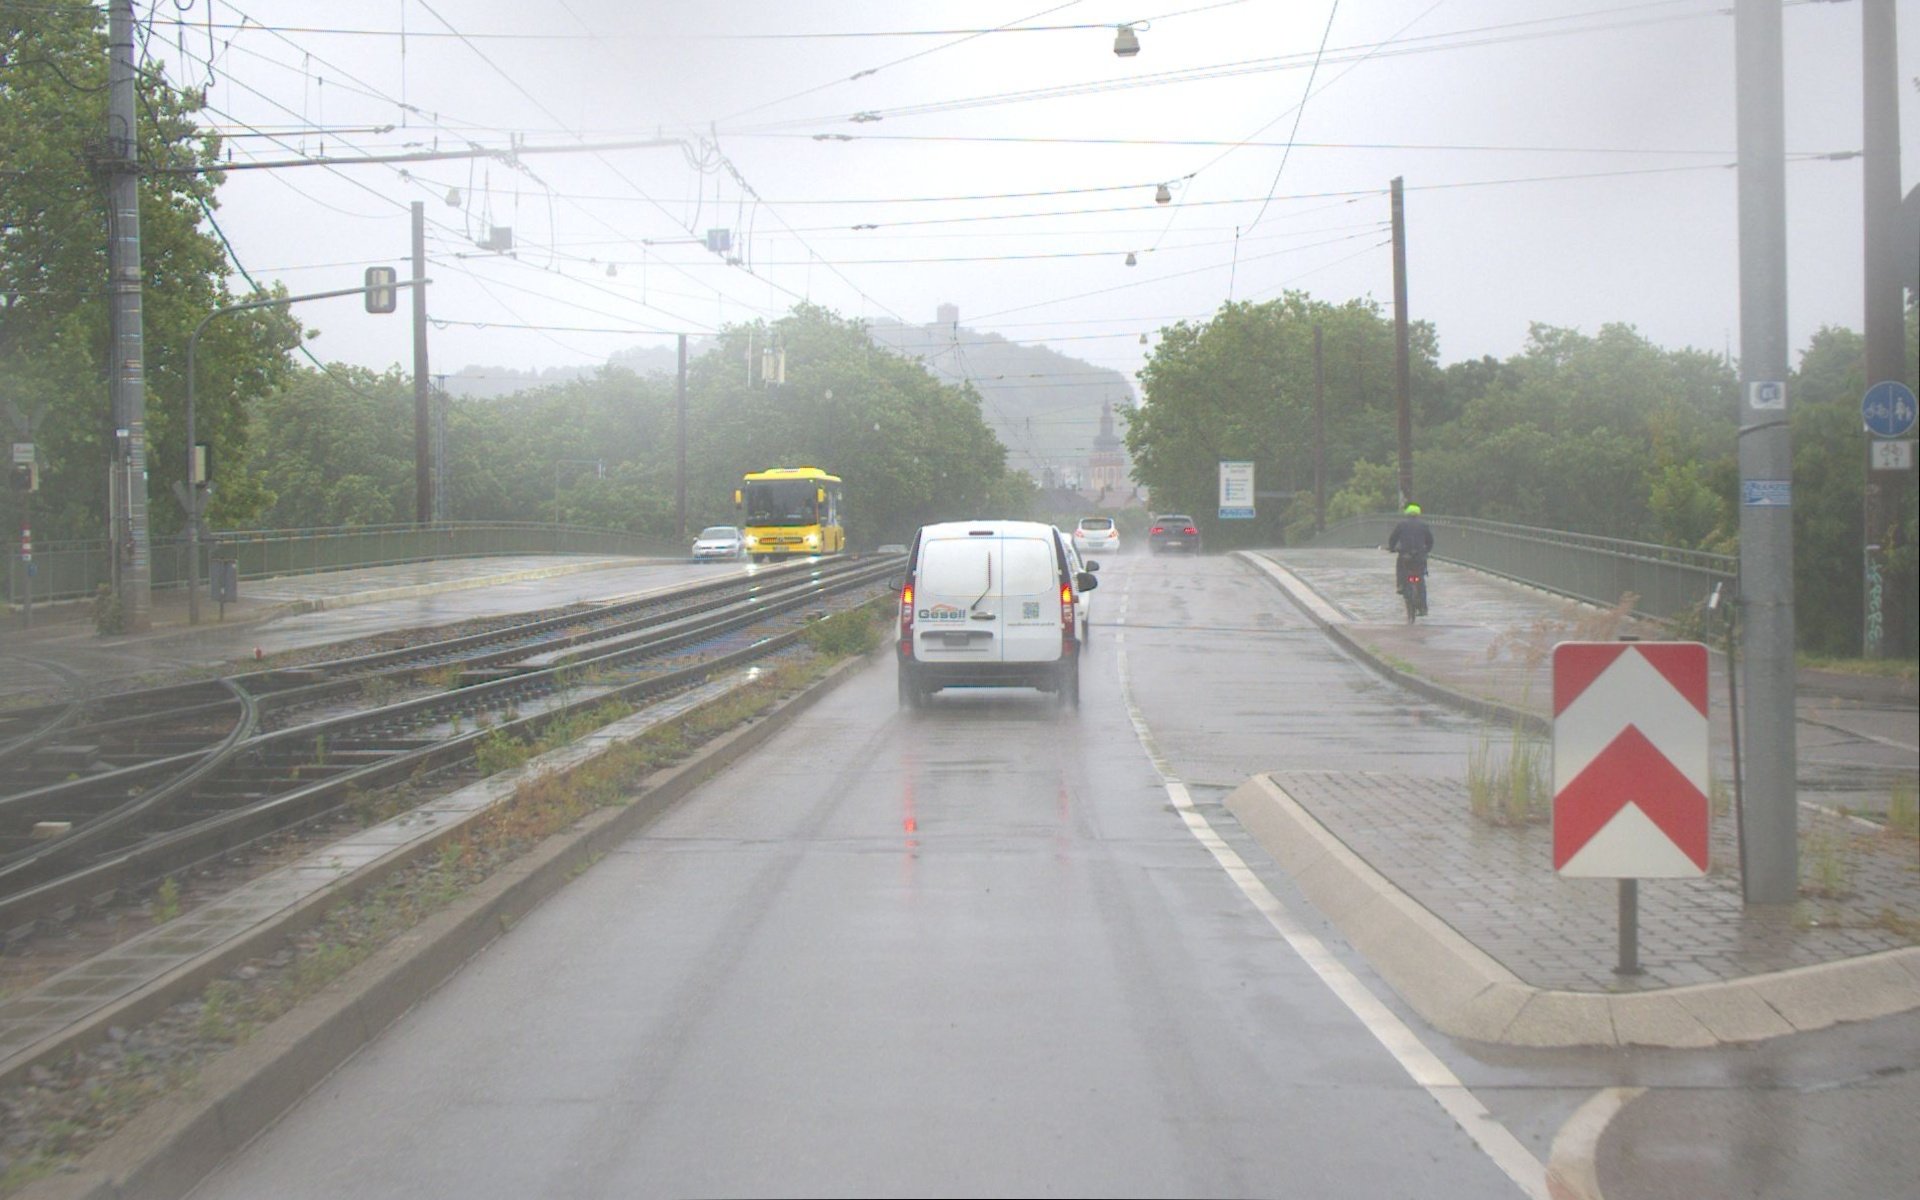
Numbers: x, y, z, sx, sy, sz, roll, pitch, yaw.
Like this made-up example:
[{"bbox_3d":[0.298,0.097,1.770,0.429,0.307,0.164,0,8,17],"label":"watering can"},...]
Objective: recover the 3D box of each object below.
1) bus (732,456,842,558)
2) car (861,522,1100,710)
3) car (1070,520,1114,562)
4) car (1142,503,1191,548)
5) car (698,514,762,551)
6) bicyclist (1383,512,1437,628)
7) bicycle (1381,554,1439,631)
[{"bbox_3d":[-6.147,-3.436,123.964,2.708,3.329,10.993,-2,3,3],"label":"bus"},{"bbox_3d":[0.270,0.135,34.064,1.994,1.720,3.999,1,0,5],"label":"car"},{"bbox_3d":[4.896,-2.171,127.712,1.451,1.494,2.982,1,0,-1],"label":"car"},{"bbox_3d":[7.118,-2.553,118.598,1.451,1.494,2.982,1,0,-1],"label":"car"},{"bbox_3d":[-8.785,-2.582,131.416,1.934,1.227,4.100,-2,3,3],"label":"car"},{"bbox_3d":[6.945,-0.456,53.048,0.725,1.758,0.949,1,0,3],"label":"bicyclist"},{"bbox_3d":[6.939,-0.126,53.084,0.723,1.125,2.167,1,1,3],"label":"bicycle"}]
